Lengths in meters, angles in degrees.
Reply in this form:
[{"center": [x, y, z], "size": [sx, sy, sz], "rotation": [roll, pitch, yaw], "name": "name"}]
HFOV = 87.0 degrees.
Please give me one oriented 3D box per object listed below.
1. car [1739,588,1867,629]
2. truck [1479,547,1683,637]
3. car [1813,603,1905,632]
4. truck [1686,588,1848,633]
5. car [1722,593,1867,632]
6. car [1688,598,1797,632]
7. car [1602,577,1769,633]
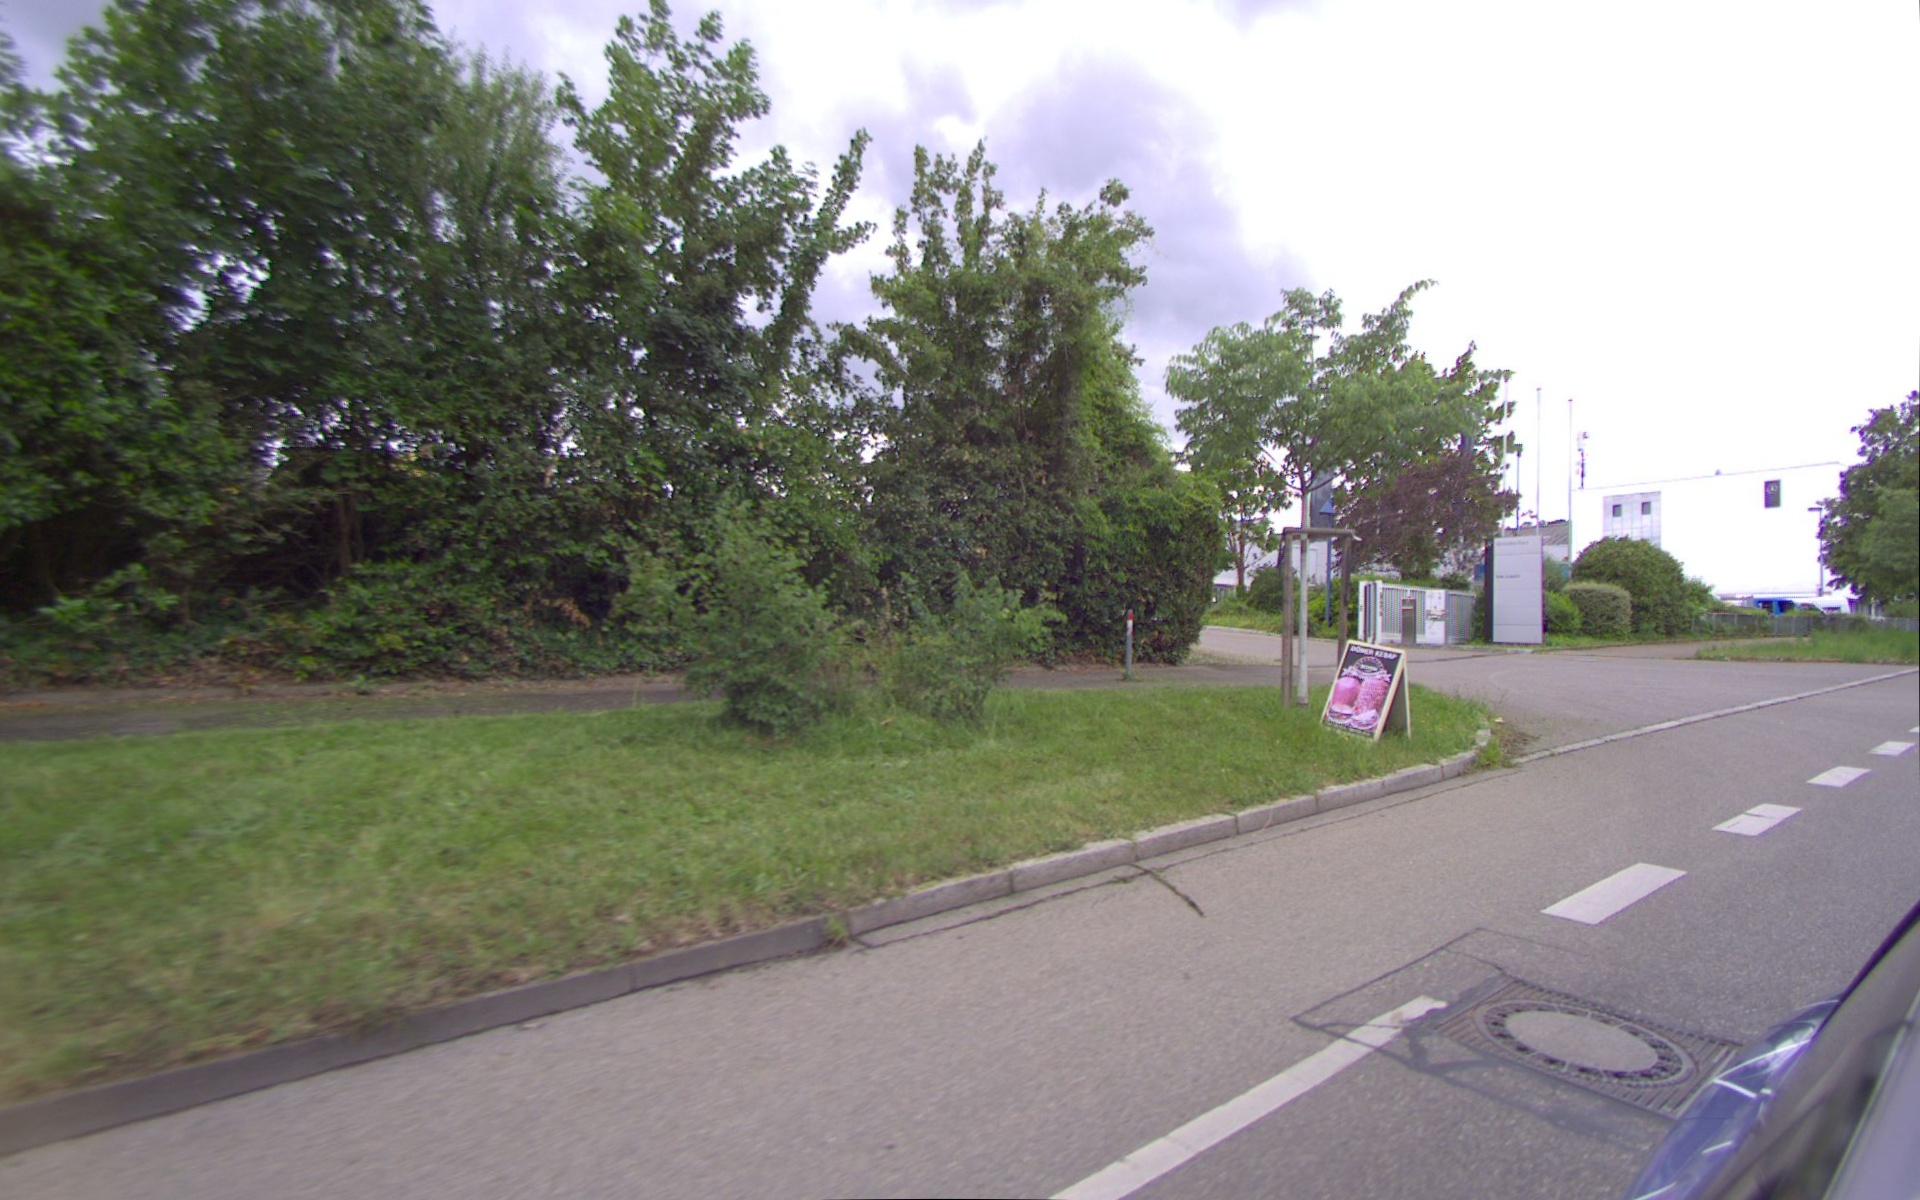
[{"center": [47.725, 0.521, 57.448], "size": [5.218, 2.216, 2.049], "rotation": [-1, -1, 31], "name": "car"}, {"center": [25.978, -0.334, 42.667], "size": [7.129, 3.521, 2.589], "rotation": [0, -1, 32], "name": "truck"}, {"center": [66.276, 1.320, 74.700], "size": [4.512, 2.061, 2.061], "rotation": [-1, -1, 16], "name": "car"}, {"center": [41.951, 0.581, 52.844], "size": [6.194, 2.241, 2.225], "rotation": [-1, -1, 28], "name": "truck"}, {"center": [44.967, 0.707, 54.727], "size": [5.786, 1.982, 2.046], "rotation": [-1, -1, 34], "name": "car"}, {"center": [38.842, 0.770, 50.375], "size": [3.962, 1.650, 1.980], "rotation": [-1, -1, 28], "name": "car"}, {"center": [32.921, 0.267, 46.204], "size": [5.983, 2.397, 2.335], "rotation": [-1, -1, 32], "name": "car"}]
